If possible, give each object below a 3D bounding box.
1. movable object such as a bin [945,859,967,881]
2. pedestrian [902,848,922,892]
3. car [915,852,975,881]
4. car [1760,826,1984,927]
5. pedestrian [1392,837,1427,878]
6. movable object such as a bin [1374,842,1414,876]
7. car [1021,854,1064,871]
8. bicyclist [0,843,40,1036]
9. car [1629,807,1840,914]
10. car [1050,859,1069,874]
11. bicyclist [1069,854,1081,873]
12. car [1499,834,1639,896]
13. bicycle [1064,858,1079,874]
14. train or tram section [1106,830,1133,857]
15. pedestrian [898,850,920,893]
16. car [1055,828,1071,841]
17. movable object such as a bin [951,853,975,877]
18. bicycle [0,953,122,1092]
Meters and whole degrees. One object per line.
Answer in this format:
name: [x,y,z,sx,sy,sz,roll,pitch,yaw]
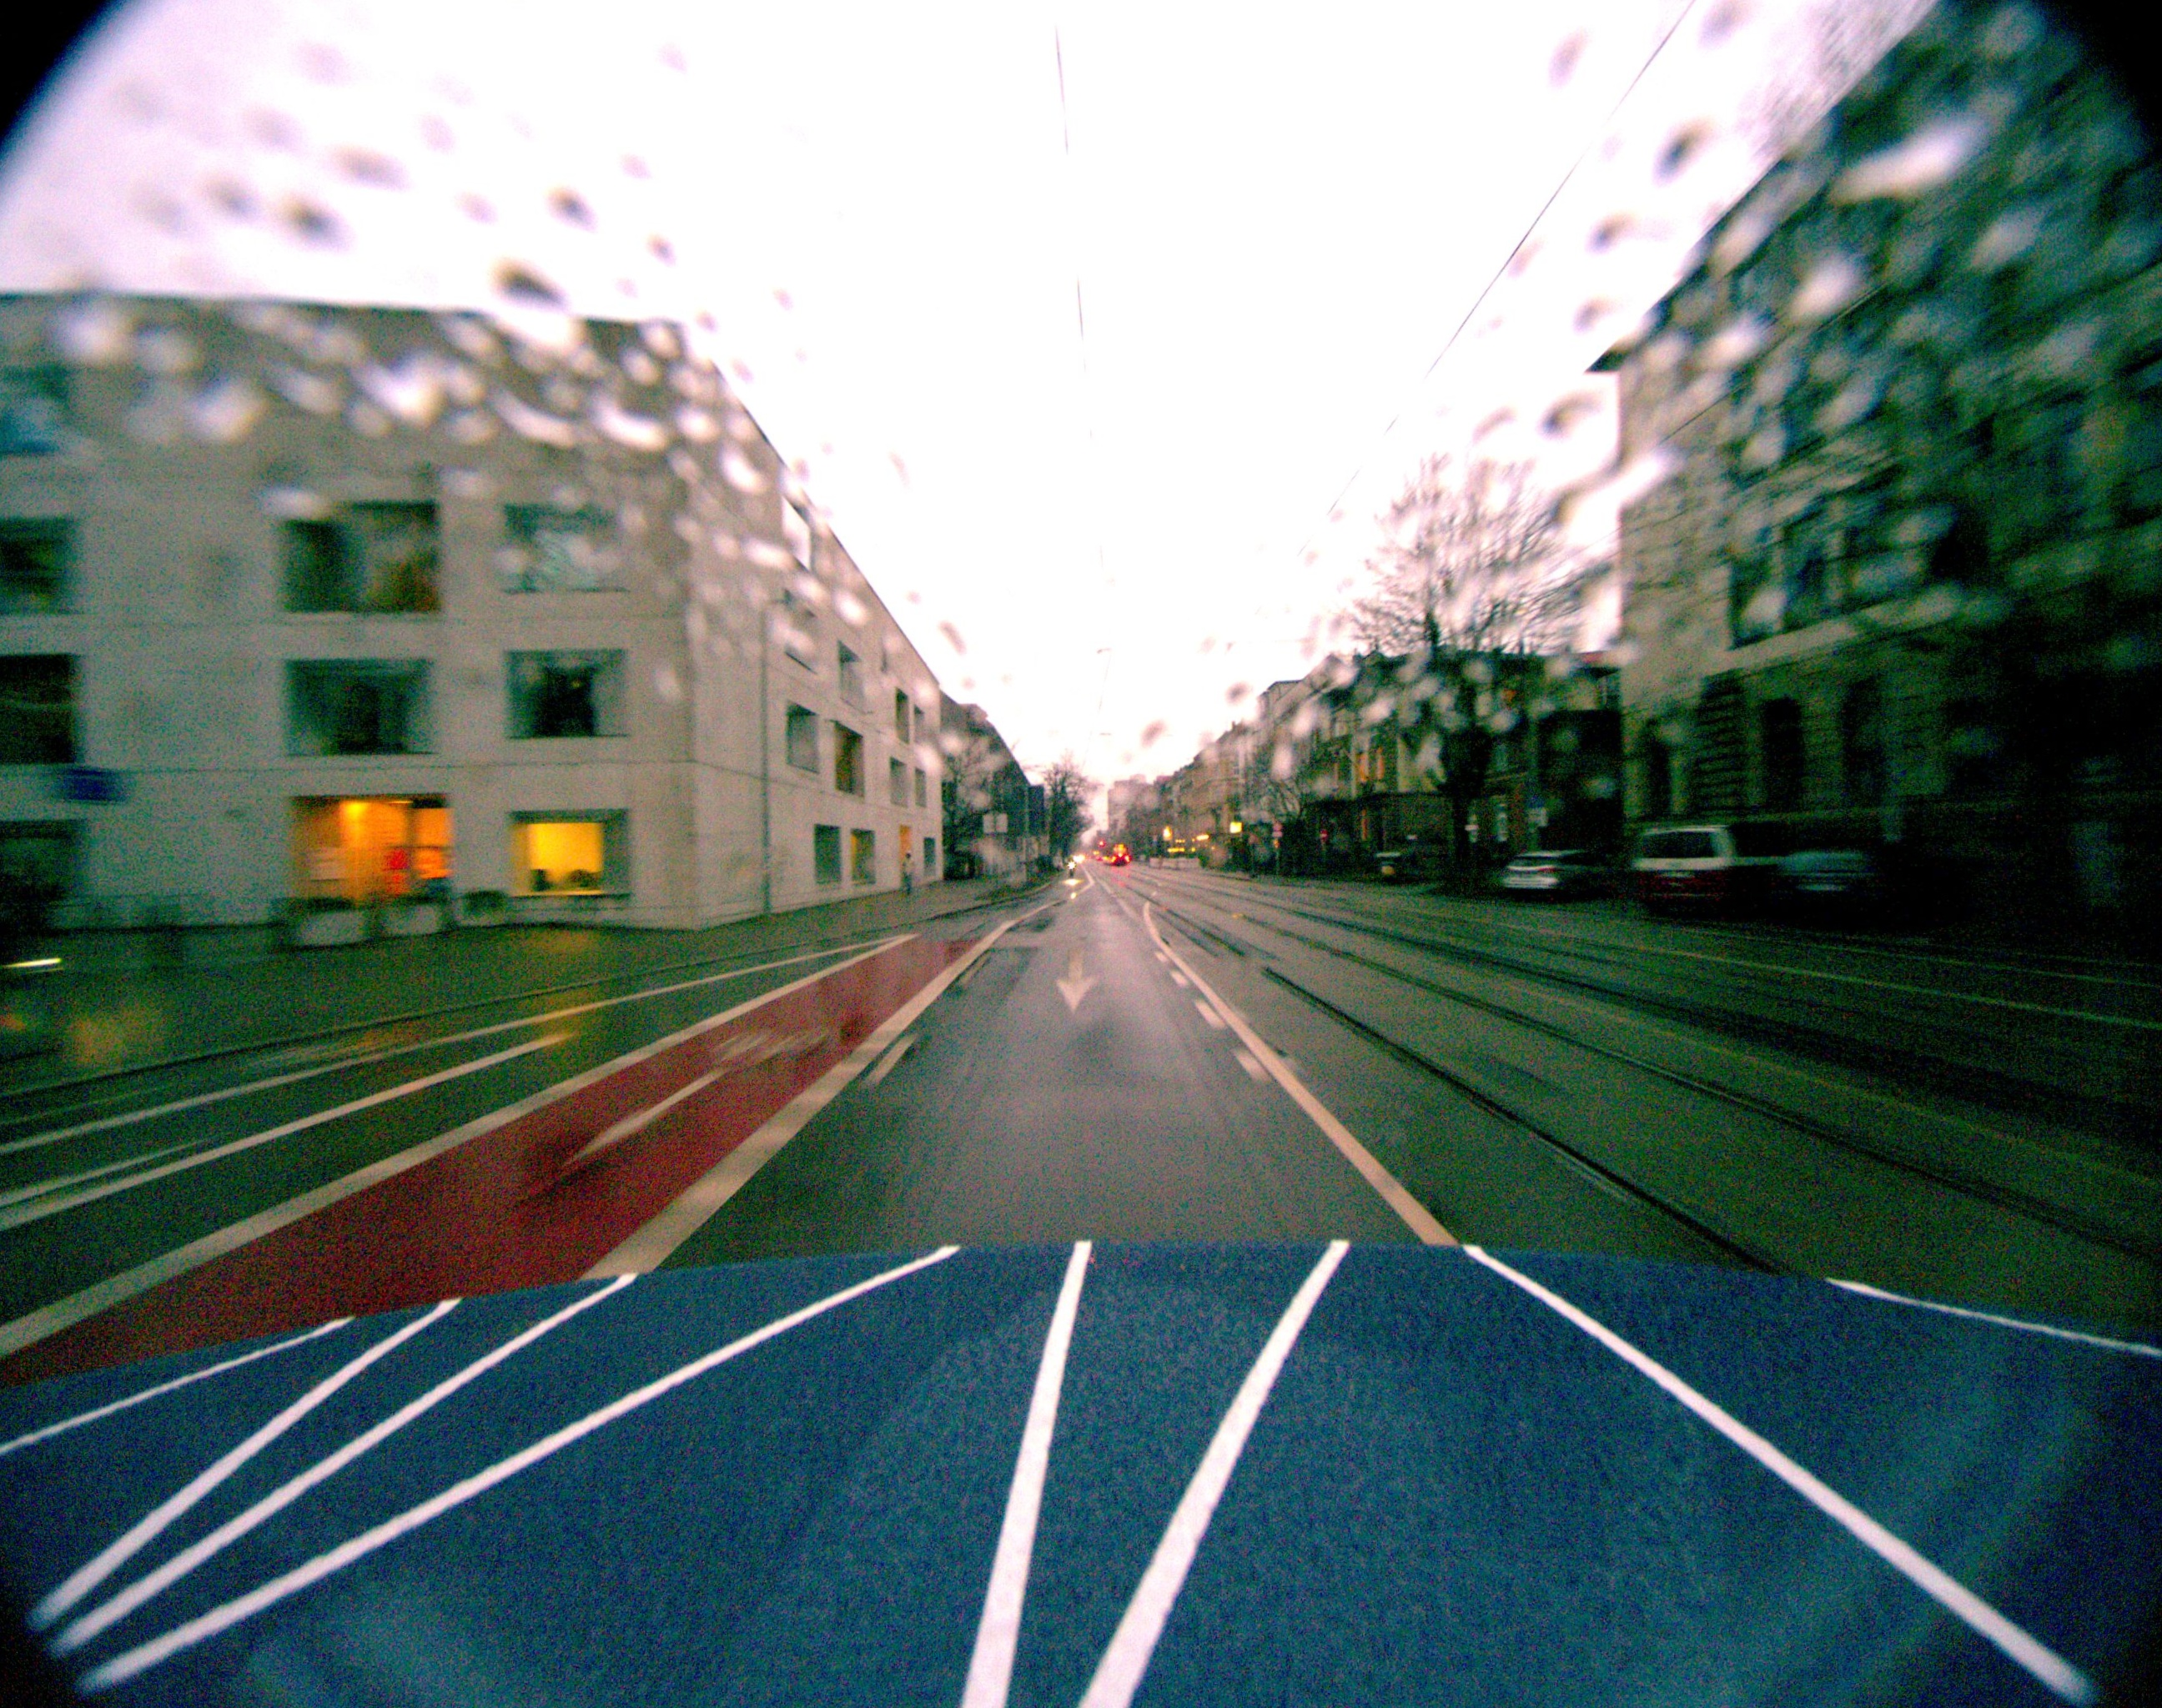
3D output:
movable object such as a bin: [-8.410,1.079,51.017,1.259,1.437,1.418,-1,1,-2]
pedestrian: [-7.252,0.667,32.623,0.657,1.849,0.659,0,1,2]
car: [-8.694,0.780,48.931,3.458,1.637,1.731,-3,1,0]
car: [14.879,0.350,14.277,3.981,1.530,1.820,-4,1,-27]
pedestrian: [14.211,0.161,32.850,0.924,1.693,0.946,-4,1,-22]
movable object such as a bin: [14.325,0.224,34.809,0.988,1.456,1.341,-4,1,-37]
car: [-3.777,0.846,74.598,3.859,1.421,1.860,-3,1,-16]
bicyclist: [-9.394,0.703,6.165,0.856,1.586,0.781,2,1,5]
car: [14.841,0.090,17.226,4.628,2.041,1.962,-4,1,-27]
car: [-2.327,1.402,84.260,1.658,1.507,3.502,-3,1,5]
bicyclist: [-0.435,0.672,54.037,0.716,1.335,0.720,-3,1,7]
car: [14.906,0.297,23.162,4.190,1.581,1.771,-4,1,-29]
bicycle: [-0.643,0.859,53.759,0.723,1.084,2.287,-2,-1,7]
train or tram section: [5.921,-1.588,121.646,2.885,3.715,27.329,-3,1,0]
pedestrian: [-7.371,0.740,32.589,0.773,1.848,0.718,0,1,2]
car: [-2.239,-2.394,95.409,1.658,1.507,3.502,-3,1,5]
movable object such as a bin: [-7.572,0.692,48.784,1.259,1.437,1.419,-1,1,0]
bicycle: [-9.563,1.365,6.312,2.120,0.939,0.944,2,1,4]
